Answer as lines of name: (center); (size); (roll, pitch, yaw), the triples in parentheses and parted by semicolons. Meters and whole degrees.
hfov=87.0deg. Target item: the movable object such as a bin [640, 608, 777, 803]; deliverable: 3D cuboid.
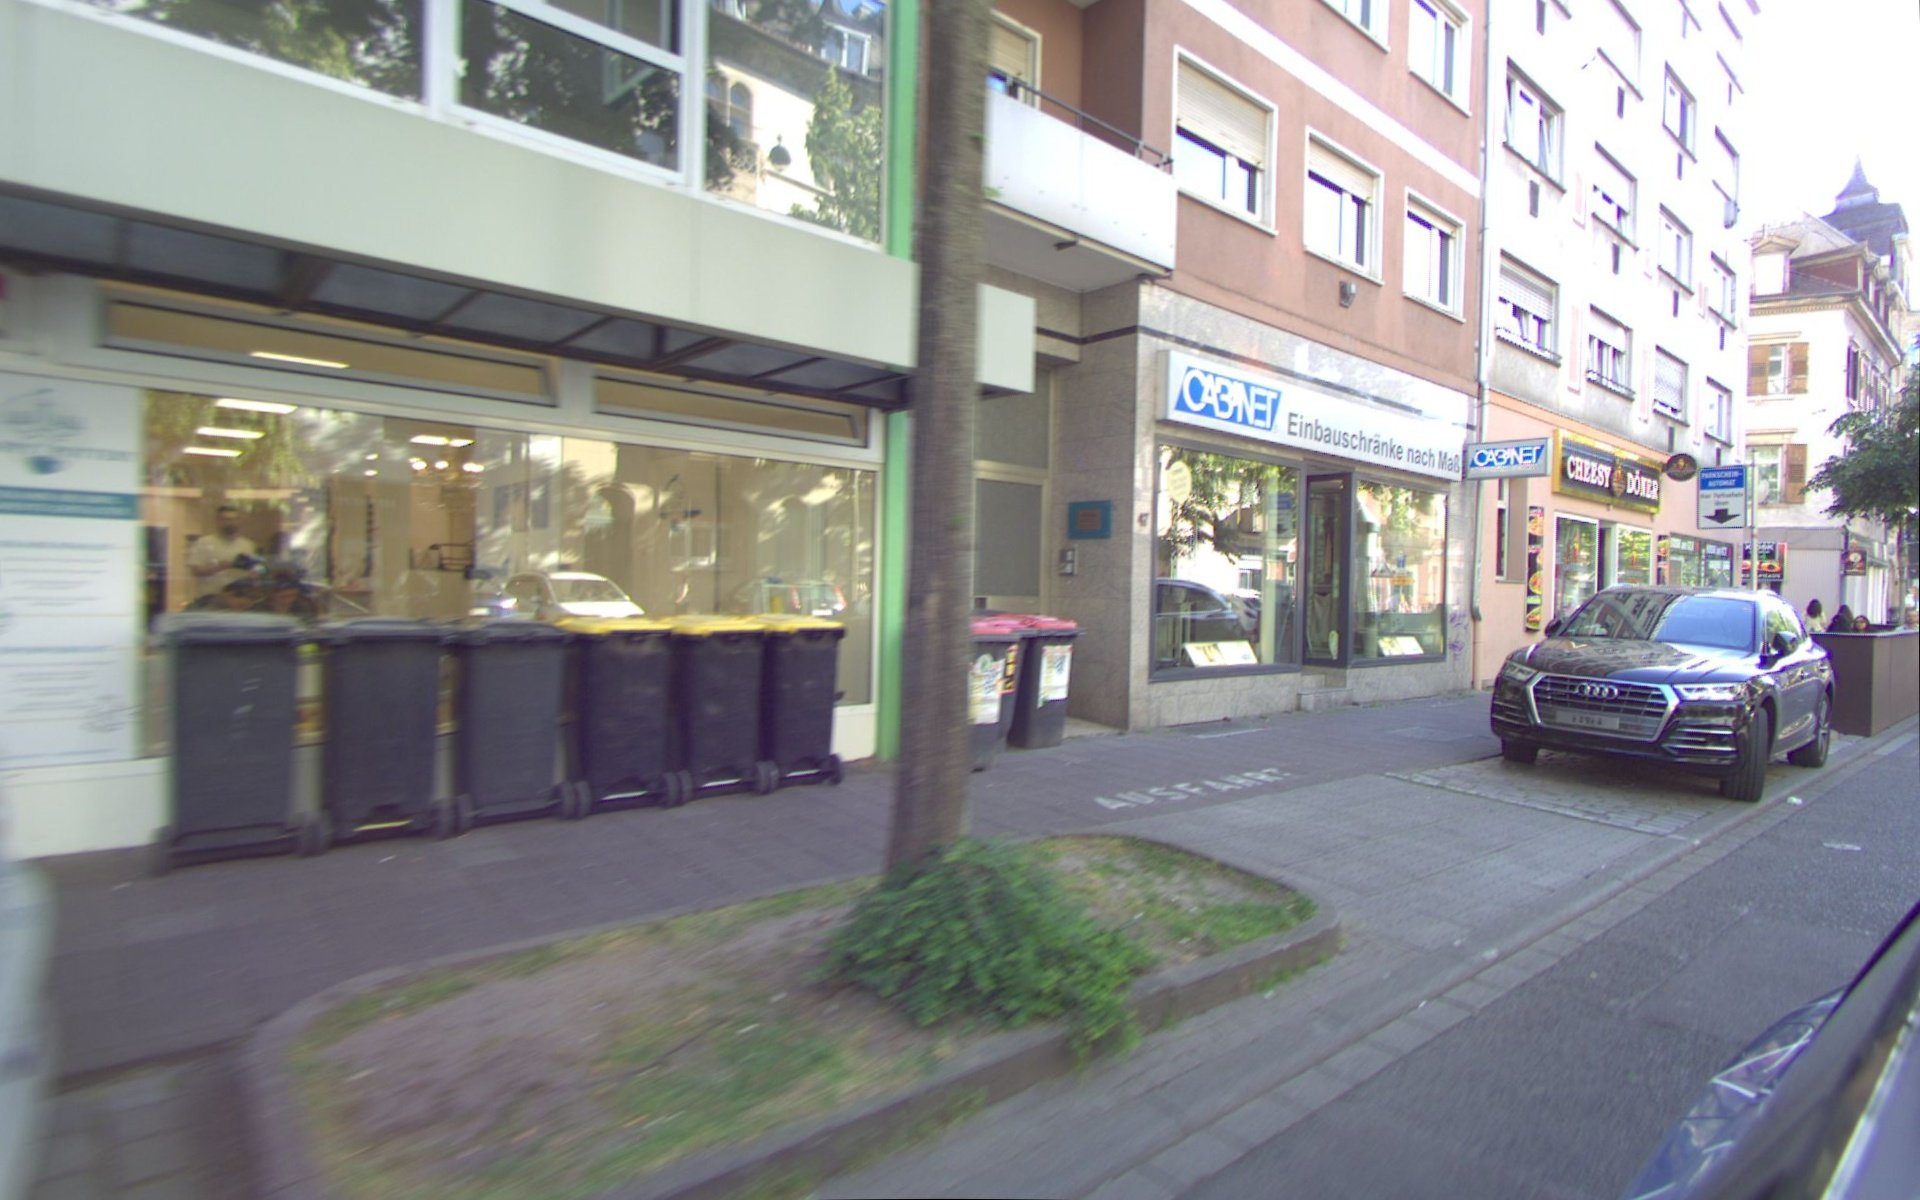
movable object such as a bin: (-1.525, 0.601, 6.126); (0.579, 1.077, 0.615); (1, 1, -39)

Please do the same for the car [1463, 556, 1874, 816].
car: (6.584, 0.576, 9.205); (4.438, 1.710, 1.998); (1, 4, -42)

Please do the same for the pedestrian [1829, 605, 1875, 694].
pedestrian: (14.215, 0.779, 16.127); (0.584, 1.379, 0.473); (1, 0, -40)

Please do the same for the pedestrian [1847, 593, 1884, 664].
pedestrian: (21.753, 0.673, 24.306); (0.735, 1.665, 0.514); (1, 2, -42)

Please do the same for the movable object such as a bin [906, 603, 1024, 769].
movable object such as a bin: (0.034, 0.591, 7.309); (0.563, 1.108, 0.627); (1, 1, -39)

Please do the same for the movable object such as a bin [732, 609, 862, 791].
movable object such as a bin: (-1.054, 0.606, 6.512); (0.579, 1.077, 0.612); (1, 1, -39)

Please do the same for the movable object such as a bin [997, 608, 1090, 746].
movable object such as a bin: (0.697, 0.618, 8.419); (0.563, 1.077, 0.500); (1, 1, -39)

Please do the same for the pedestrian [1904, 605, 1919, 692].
pedestrian: (17.278, 0.869, 18.146); (0.454, 1.548, 0.473); (1, 0, -40)

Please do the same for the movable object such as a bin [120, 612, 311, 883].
movable object such as a bin: (-3.346, 0.603, 4.550); (0.643, 1.077, 0.615); (1, 1, -39)

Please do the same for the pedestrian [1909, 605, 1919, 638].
pedestrian: (43.426, 0.981, 45.947); (0.512, 1.461, 0.460); (1, 0, -42)

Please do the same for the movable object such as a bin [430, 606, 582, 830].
movable object such as a bin: (-2.415, 0.580, 5.373); (0.579, 1.077, 0.615); (1, 1, -39)

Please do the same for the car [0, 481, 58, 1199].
car: (-3.357, 0.554, 0.601); (4.160, 1.545, 1.887); (1, 3, -42)

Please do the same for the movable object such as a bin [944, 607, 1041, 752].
movable object such as a bin: (0.256, 0.605, 8.048); (0.563, 1.077, 0.500); (1, 1, -39)

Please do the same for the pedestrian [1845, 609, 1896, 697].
pedestrian: (14.854, 0.849, 16.511); (0.584, 1.396, 0.553); (1, 0, -40)

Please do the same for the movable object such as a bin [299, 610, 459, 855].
movable object such as a bin: (-2.861, 0.600, 4.976); (0.579, 1.077, 0.615); (1, 1, -39)

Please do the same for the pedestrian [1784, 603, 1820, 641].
pedestrian: (29.203, 0.766, 35.106); (0.701, 1.274, 0.589); (1, 2, 10)

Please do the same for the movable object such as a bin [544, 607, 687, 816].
movable object such as a bin: (-1.964, 0.592, 5.755); (0.579, 1.077, 0.615); (1, 1, -39)

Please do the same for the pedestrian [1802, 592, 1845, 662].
pedestrian: (21.239, 0.645, 24.883); (0.735, 1.665, 0.643); (1, 2, -42)

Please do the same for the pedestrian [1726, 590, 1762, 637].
pedestrian: (29.578, 0.494, 38.211); (0.787, 1.717, 0.706); (1, 2, 10)
